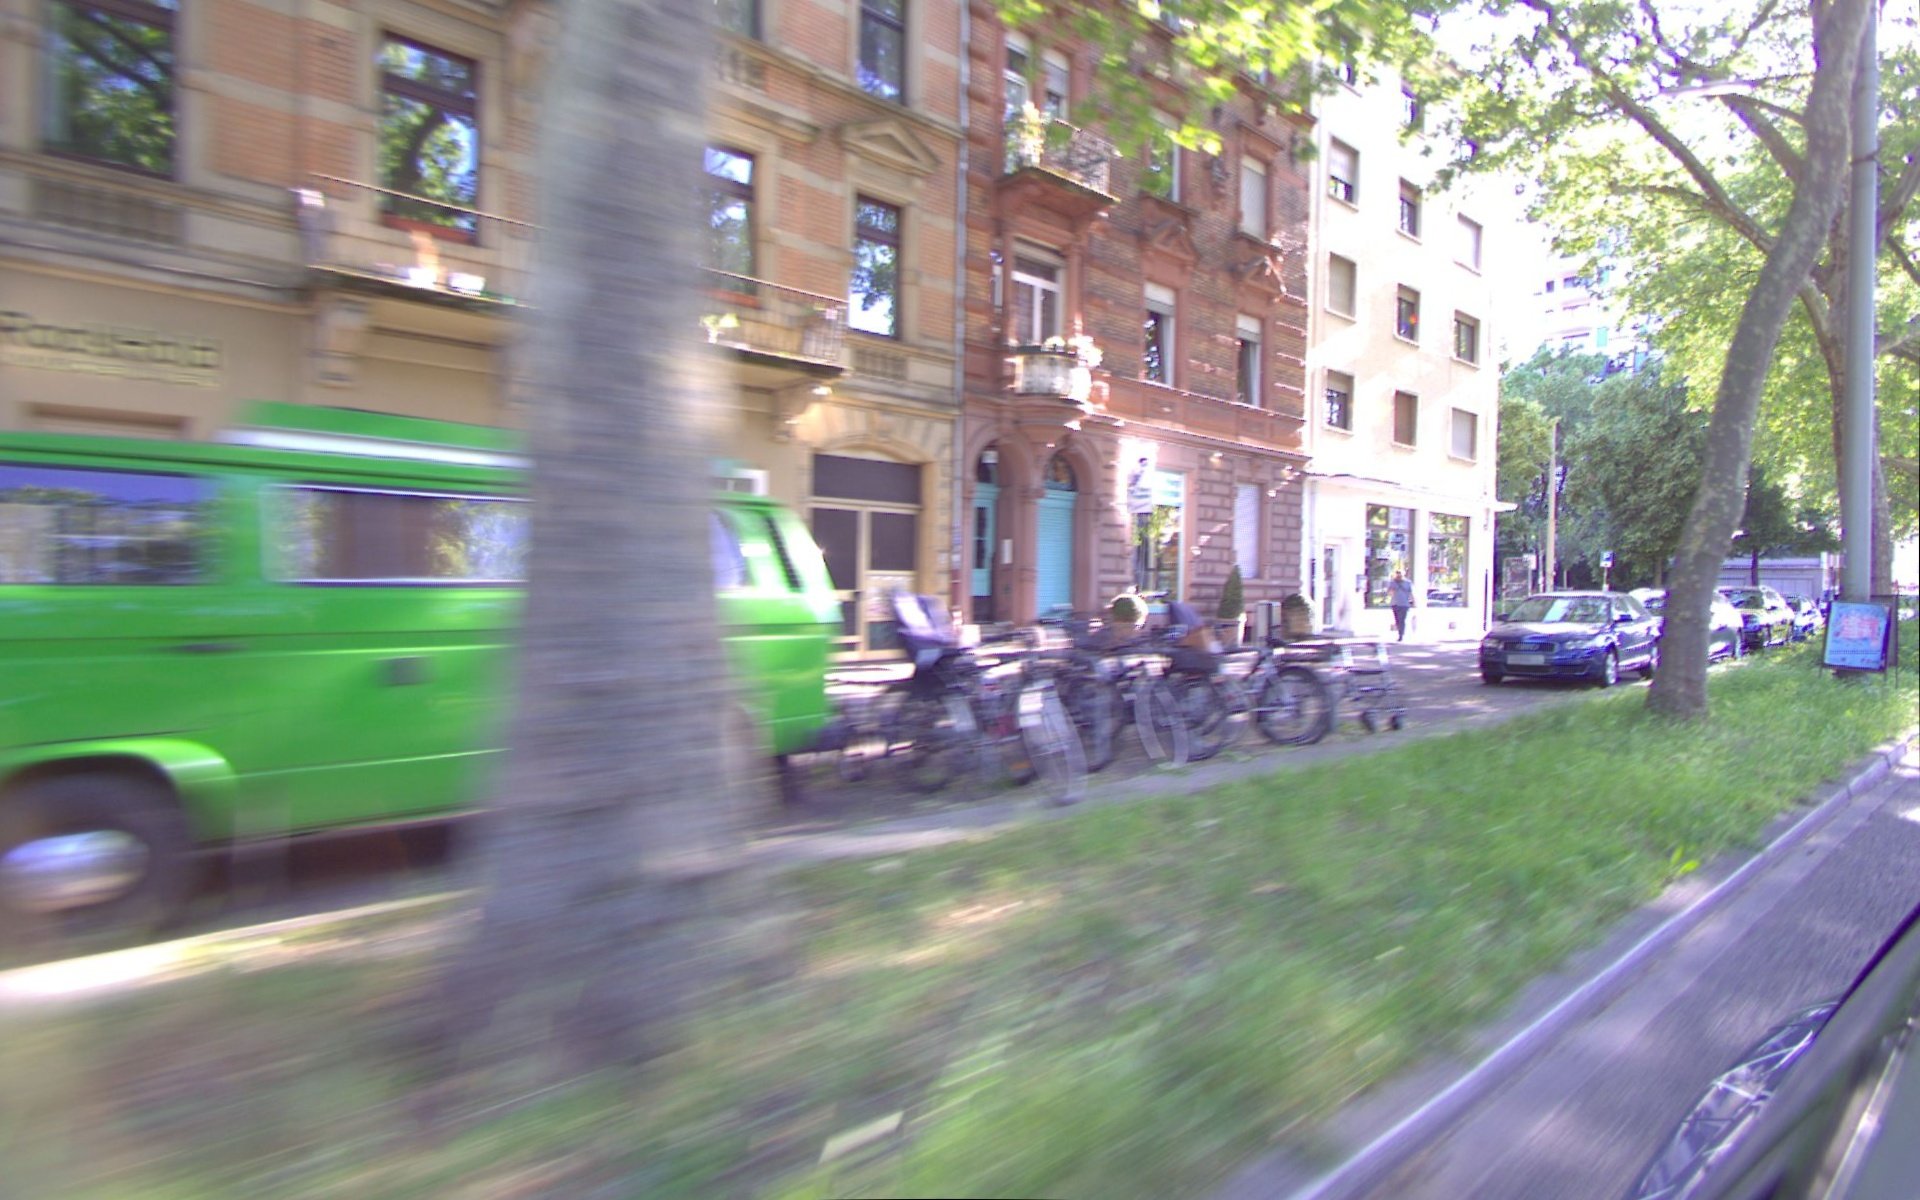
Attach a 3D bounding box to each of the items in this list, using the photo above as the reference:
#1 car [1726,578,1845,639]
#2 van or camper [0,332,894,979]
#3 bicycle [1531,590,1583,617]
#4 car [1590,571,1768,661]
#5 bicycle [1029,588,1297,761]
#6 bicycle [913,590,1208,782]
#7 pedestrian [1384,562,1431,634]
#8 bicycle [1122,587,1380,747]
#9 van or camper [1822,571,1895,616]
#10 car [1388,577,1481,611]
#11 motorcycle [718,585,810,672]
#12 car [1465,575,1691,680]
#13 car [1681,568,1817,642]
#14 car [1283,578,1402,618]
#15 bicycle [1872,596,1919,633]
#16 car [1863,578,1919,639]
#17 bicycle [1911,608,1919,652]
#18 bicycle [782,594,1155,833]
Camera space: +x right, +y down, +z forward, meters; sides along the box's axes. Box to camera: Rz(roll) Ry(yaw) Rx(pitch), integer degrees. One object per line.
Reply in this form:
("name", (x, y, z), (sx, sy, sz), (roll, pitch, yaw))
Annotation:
("car", (21.605, 0.210, 26.428), (4.186, 1.470, 1.717), (1, 1, -41))
("van or camper", (-2.737, 0.184, 4.974), (4.694, 2.125, 1.835), (-1, -1, -43))
("bicycle", (25.821, 0.122, 43.828), (0.497, 1.117, 2.150), (0, 1, -16))
("car", (13.776, 0.278, 19.287), (4.500, 1.526, 1.698), (1, 1, -40))
("bicycle", (1.699, 0.554, 8.814), (0.965, 1.310, 2.168), (0, 0, -40))
("bicycle", (0.749, 0.578, 7.979), (2.160, 1.310, 0.969), (0, 0, 39))
("pedestrian", (10.942, -0.059, 24.757), (0.711, 1.726, 0.797), (0, 1, -41))
("bicycle", (2.646, 0.541, 9.443), (0.965, 1.310, 2.169), (0, 0, -38))
("van or camper", (48.323, -0.377, 54.398), (5.722, 2.315, 2.294), (-1, 1, -42))
("car", (23.835, -0.312, 50.833), (4.299, 1.648, 2.003), (0, 1, -26))
("motorcycle", (-2.696, 0.362, 13.998), (0.502, 1.138, 1.278), (1, 1, 34))
("car", (9.742, 0.379, 15.842), (4.119, 1.425, 1.836), (-1, -1, -41))
("car", (18.115, 0.102, 23.177), (4.186, 1.549, 1.698), (1, 1, -41))
("car", (16.080, -0.118, 42.779), (1.959, 1.600, 4.609), (0, 1, -26))
("bicycle", (25.196, 0.394, 26.600), (1.734, 0.939, 0.652), (1, 1, 9))
("car", (27.621, 0.225, 29.274), (4.744, 1.656, 1.904), (0, 1, -44))
("bicycle", (23.690, 0.742, 24.007), (0.396, 1.072, 1.599), (0, 1, -34))
("bicycle", (-0.038, 0.618, 6.816), (2.548, 1.310, 0.959), (0, 0, 43))
